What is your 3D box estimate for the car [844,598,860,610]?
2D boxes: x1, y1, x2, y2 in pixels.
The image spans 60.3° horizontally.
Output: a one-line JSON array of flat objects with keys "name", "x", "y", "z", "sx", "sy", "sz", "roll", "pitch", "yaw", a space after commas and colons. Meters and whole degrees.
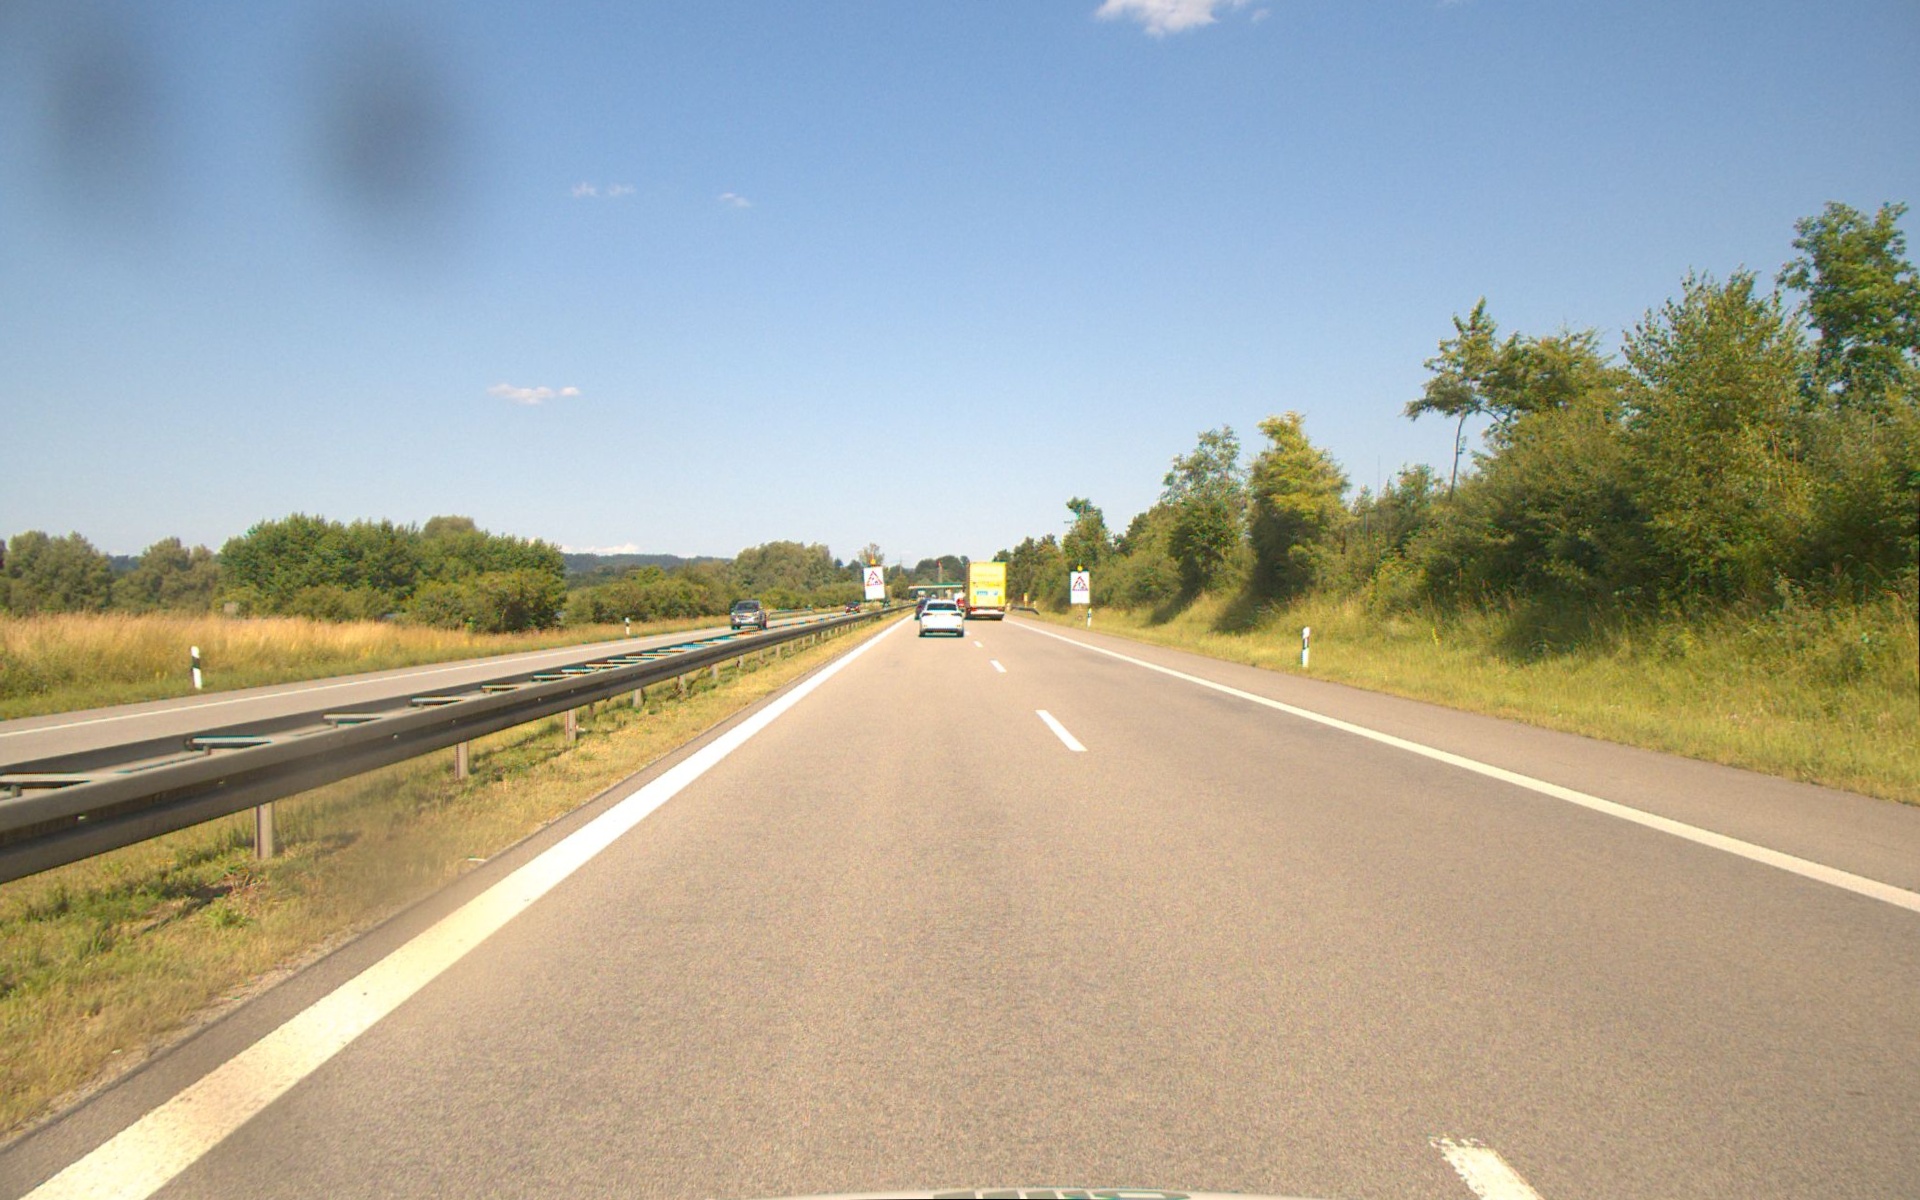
[{"name": "car", "x": -13.768, "y": 0.538, "z": 210.691, "sx": 1.795, "sy": 1.422, "sz": 4.921, "roll": -4, "pitch": 0, "yaw": -2}]

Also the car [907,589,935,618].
[{"name": "car", "x": -2.749, "y": 0.247, "z": 117.427, "sx": 1.953, "sy": 2.049, "sz": 3.999, "roll": 1, "pitch": 0, "yaw": -1}]

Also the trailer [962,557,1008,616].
[{"name": "trailer", "x": 1.754, "y": -0.917, "z": 122.974, "sx": 3.119, "sy": 4.130, "sz": 13.185, "roll": 1, "pitch": 0, "yaw": 0}]

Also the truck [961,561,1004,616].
[{"name": "truck", "x": 1.739, "y": -0.877, "z": 129.074, "sx": 3.104, "sy": 4.186, "sz": 6.386, "roll": 1, "pitch": 0, "yaw": -1}]

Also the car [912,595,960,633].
[{"name": "car", "x": -0.919, "y": 0.537, "z": 65.779, "sx": 1.805, "sy": 1.440, "sz": 4.000, "roll": 1, "pitch": 0, "yaw": 0}]

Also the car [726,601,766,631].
[{"name": "car", "x": -13.000, "y": 0.957, "z": 100.606, "sx": 1.863, "sy": 1.712, "sz": 4.730, "roll": -2, "pitch": 0, "yaw": -1}]

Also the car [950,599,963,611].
[{"name": "car", "x": -0.494, "y": 0.755, "z": 255.192, "sx": 1.863, "sy": 1.712, "sz": 4.730, "roll": 2, "pitch": 0, "yaw": -1}]
